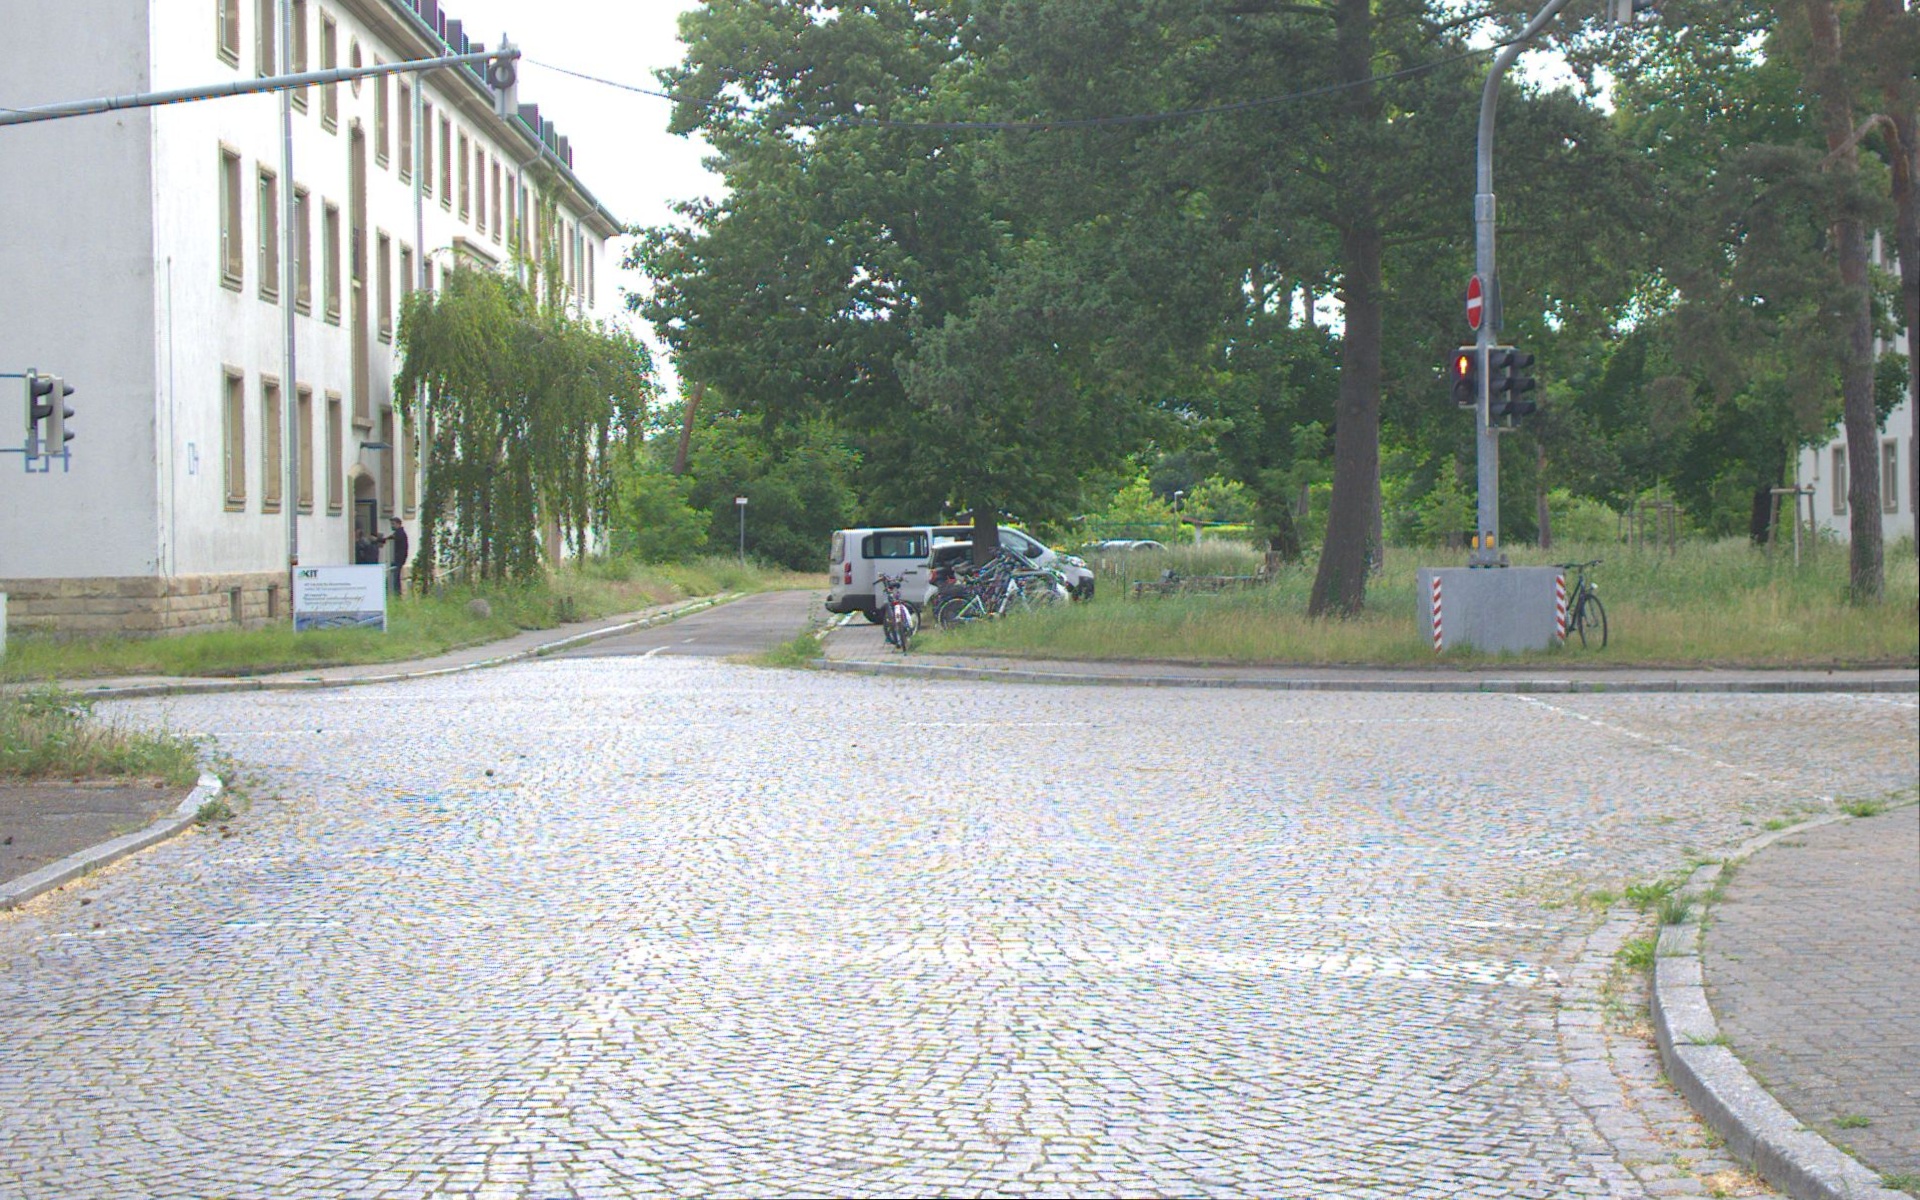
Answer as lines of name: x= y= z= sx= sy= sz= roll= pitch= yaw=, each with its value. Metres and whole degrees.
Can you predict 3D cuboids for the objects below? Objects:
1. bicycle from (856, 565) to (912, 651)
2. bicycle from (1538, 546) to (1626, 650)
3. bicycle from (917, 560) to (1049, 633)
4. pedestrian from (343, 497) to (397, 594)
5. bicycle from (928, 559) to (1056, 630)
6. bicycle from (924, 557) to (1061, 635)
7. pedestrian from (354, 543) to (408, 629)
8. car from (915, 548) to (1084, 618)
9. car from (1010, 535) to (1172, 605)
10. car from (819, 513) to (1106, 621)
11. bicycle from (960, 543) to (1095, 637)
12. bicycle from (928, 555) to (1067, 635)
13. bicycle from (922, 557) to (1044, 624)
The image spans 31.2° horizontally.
bicycle: x=-1.042 y=0.095 z=46.748 sx=0.603 sy=1.128 sz=1.962 roll=-1 pitch=1 yaw=-6
bicycle: x=6.832 y=-0.034 z=37.823 sx=0.586 sy=1.102 sz=1.961 roll=0 pitch=1 yaw=-1
bicycle: x=0.355 y=-0.064 z=52.059 sx=1.955 sy=1.066 sz=0.588 roll=-1 pitch=1 yaw=-30
pedestrian: x=-11.267 y=-1.050 z=65.677 sx=0.774 sy=1.831 sz=0.741 roll=-1 pitch=1 yaw=-31
bicycle: x=0.496 y=-0.087 z=53.408 sx=1.955 sy=1.066 sz=0.588 roll=-1 pitch=1 yaw=-30
bicycle: x=0.473 y=-0.062 z=50.575 sx=1.954 sy=1.113 sz=0.588 roll=-1 pitch=1 yaw=-7
pedestrian: x=-10.926 y=-0.272 z=64.878 sx=0.774 sy=1.613 sz=0.740 roll=-1 pitch=1 yaw=11
car: x=0.720 y=-0.332 z=64.639 sx=3.005 sy=1.264 sz=1.535 roll=-1 pitch=1 yaw=-6
car: x=2.727 y=-0.640 z=71.900 sx=3.231 sy=1.411 sz=1.725 roll=-1 pitch=1 yaw=-3
car: x=0.022 y=-0.663 z=68.021 sx=5.359 sy=1.918 sz=2.025 roll=-2 pitch=1 yaw=-9
bicycle: x=1.007 y=-0.160 z=51.404 sx=1.954 sy=1.379 sz=0.588 roll=-1 pitch=1 yaw=-7
bicycle: x=0.541 y=-0.074 z=49.941 sx=1.954 sy=1.128 sz=0.588 roll=-1 pitch=1 yaw=-7
bicycle: x=0.387 y=-0.165 z=57.094 sx=1.954 sy=1.066 sz=0.588 roll=-1 pitch=1 yaw=-25
